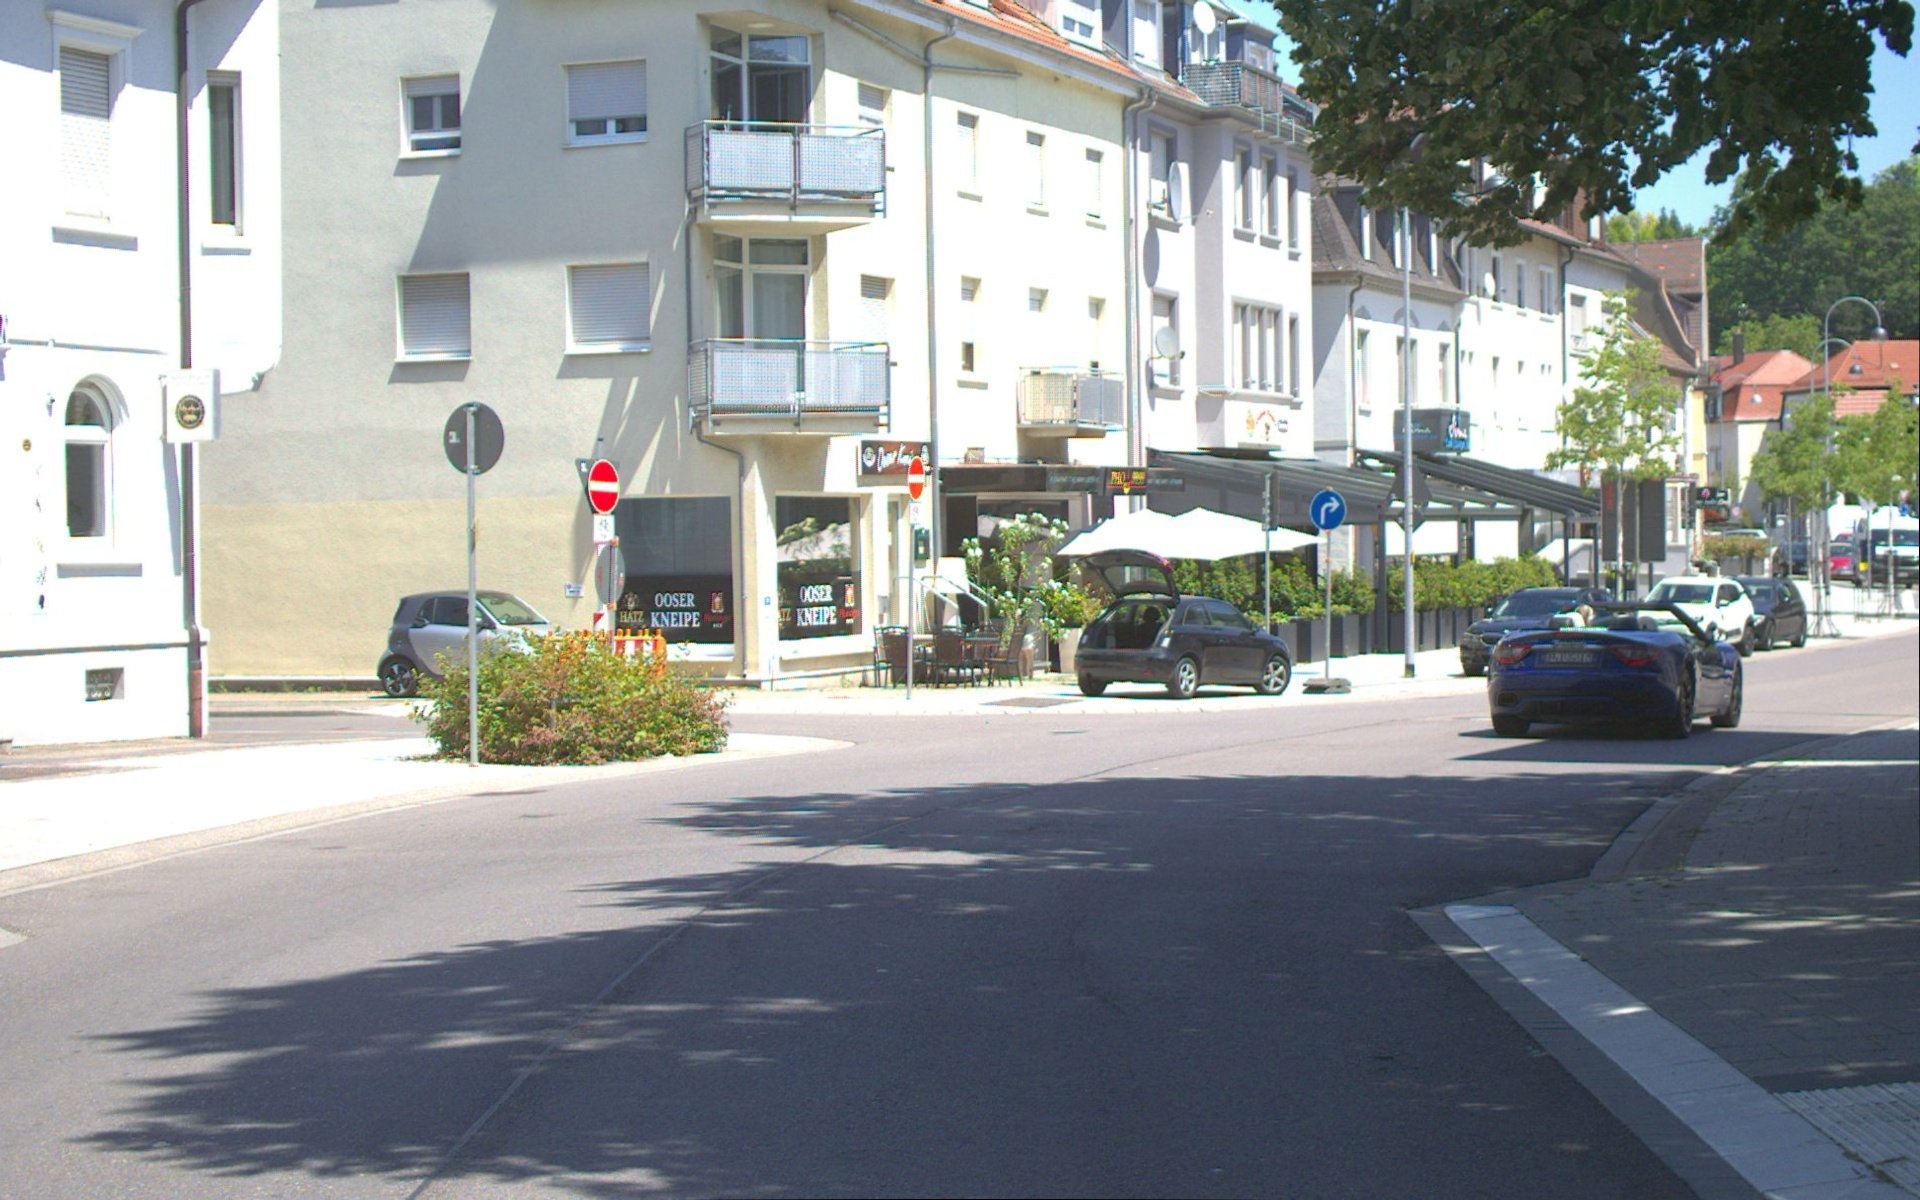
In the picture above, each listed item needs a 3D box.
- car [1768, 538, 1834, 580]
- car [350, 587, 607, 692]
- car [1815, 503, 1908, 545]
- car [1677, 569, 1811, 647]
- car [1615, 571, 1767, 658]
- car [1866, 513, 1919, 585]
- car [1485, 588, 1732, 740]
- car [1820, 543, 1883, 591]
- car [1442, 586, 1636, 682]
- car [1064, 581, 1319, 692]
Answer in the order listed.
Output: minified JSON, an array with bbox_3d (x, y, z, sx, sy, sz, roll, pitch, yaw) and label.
[{"bbox_3d":[34.021,-1.668,139.194,1.994,1.686,3.999,0,1,5],"label":"car"},{"bbox_3d":[-7.009,0.577,50.109,3.266,1.453,1.690,-1,1,20],"label":"car"},{"bbox_3d":[47.076,-3.956,179.553,4.257,2.007,2.000,1,-1,-19],"label":"car"},{"bbox_3d":[15.754,0.147,68.945,1.672,1.438,4.004,0,1,27],"label":"car"},{"bbox_3d":[13.726,0.245,64.440,1.647,1.474,3.934,2,2,30],"label":"car"},{"bbox_3d":[32.041,-1.757,117.601,1.868,2.392,4.815,-1,1,13],"label":"car"},{"bbox_3d":[6.598,0.593,34.616,1.872,1.337,4.592,1,1,18],"label":"car"},{"bbox_3d":[32.885,-1.216,126.834,1.994,1.732,3.998,-1,0,11],"label":"car"},{"bbox_3d":[9.787,0.535,57.817,1.837,1.424,4.776,1,2,27],"label":"car"},{"bbox_3d":[3.335,0.498,48.888,1.716,1.455,4.121,2,1,35],"label":"car"}]
